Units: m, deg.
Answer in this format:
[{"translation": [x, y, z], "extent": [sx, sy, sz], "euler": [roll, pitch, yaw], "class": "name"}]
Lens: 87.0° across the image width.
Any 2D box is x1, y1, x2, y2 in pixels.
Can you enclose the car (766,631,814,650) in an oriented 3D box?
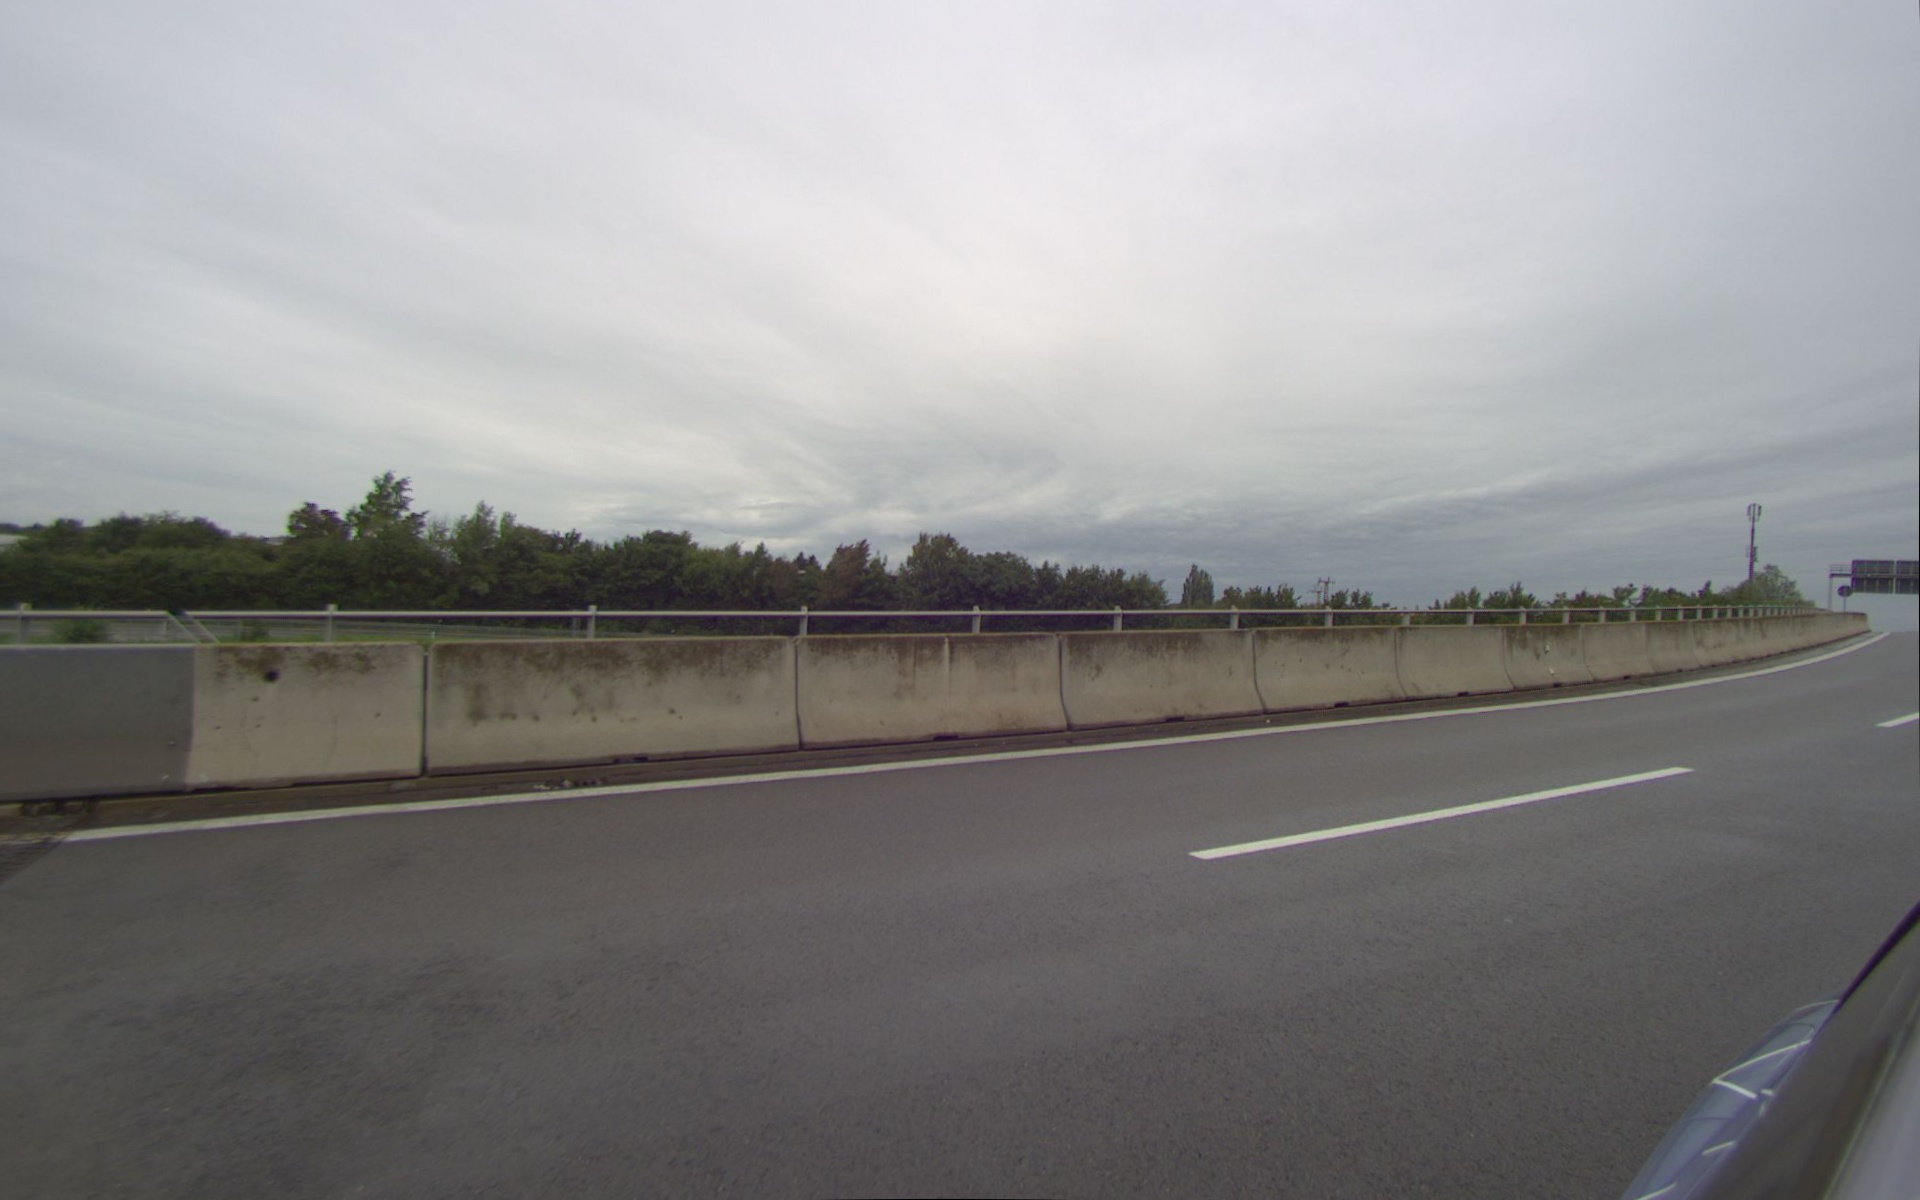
[{"translation": [-17.319, 4.119, 103.087], "extent": [4.443, 1.622, 1.715], "euler": [-2, 1, 5], "class": "car"}]
